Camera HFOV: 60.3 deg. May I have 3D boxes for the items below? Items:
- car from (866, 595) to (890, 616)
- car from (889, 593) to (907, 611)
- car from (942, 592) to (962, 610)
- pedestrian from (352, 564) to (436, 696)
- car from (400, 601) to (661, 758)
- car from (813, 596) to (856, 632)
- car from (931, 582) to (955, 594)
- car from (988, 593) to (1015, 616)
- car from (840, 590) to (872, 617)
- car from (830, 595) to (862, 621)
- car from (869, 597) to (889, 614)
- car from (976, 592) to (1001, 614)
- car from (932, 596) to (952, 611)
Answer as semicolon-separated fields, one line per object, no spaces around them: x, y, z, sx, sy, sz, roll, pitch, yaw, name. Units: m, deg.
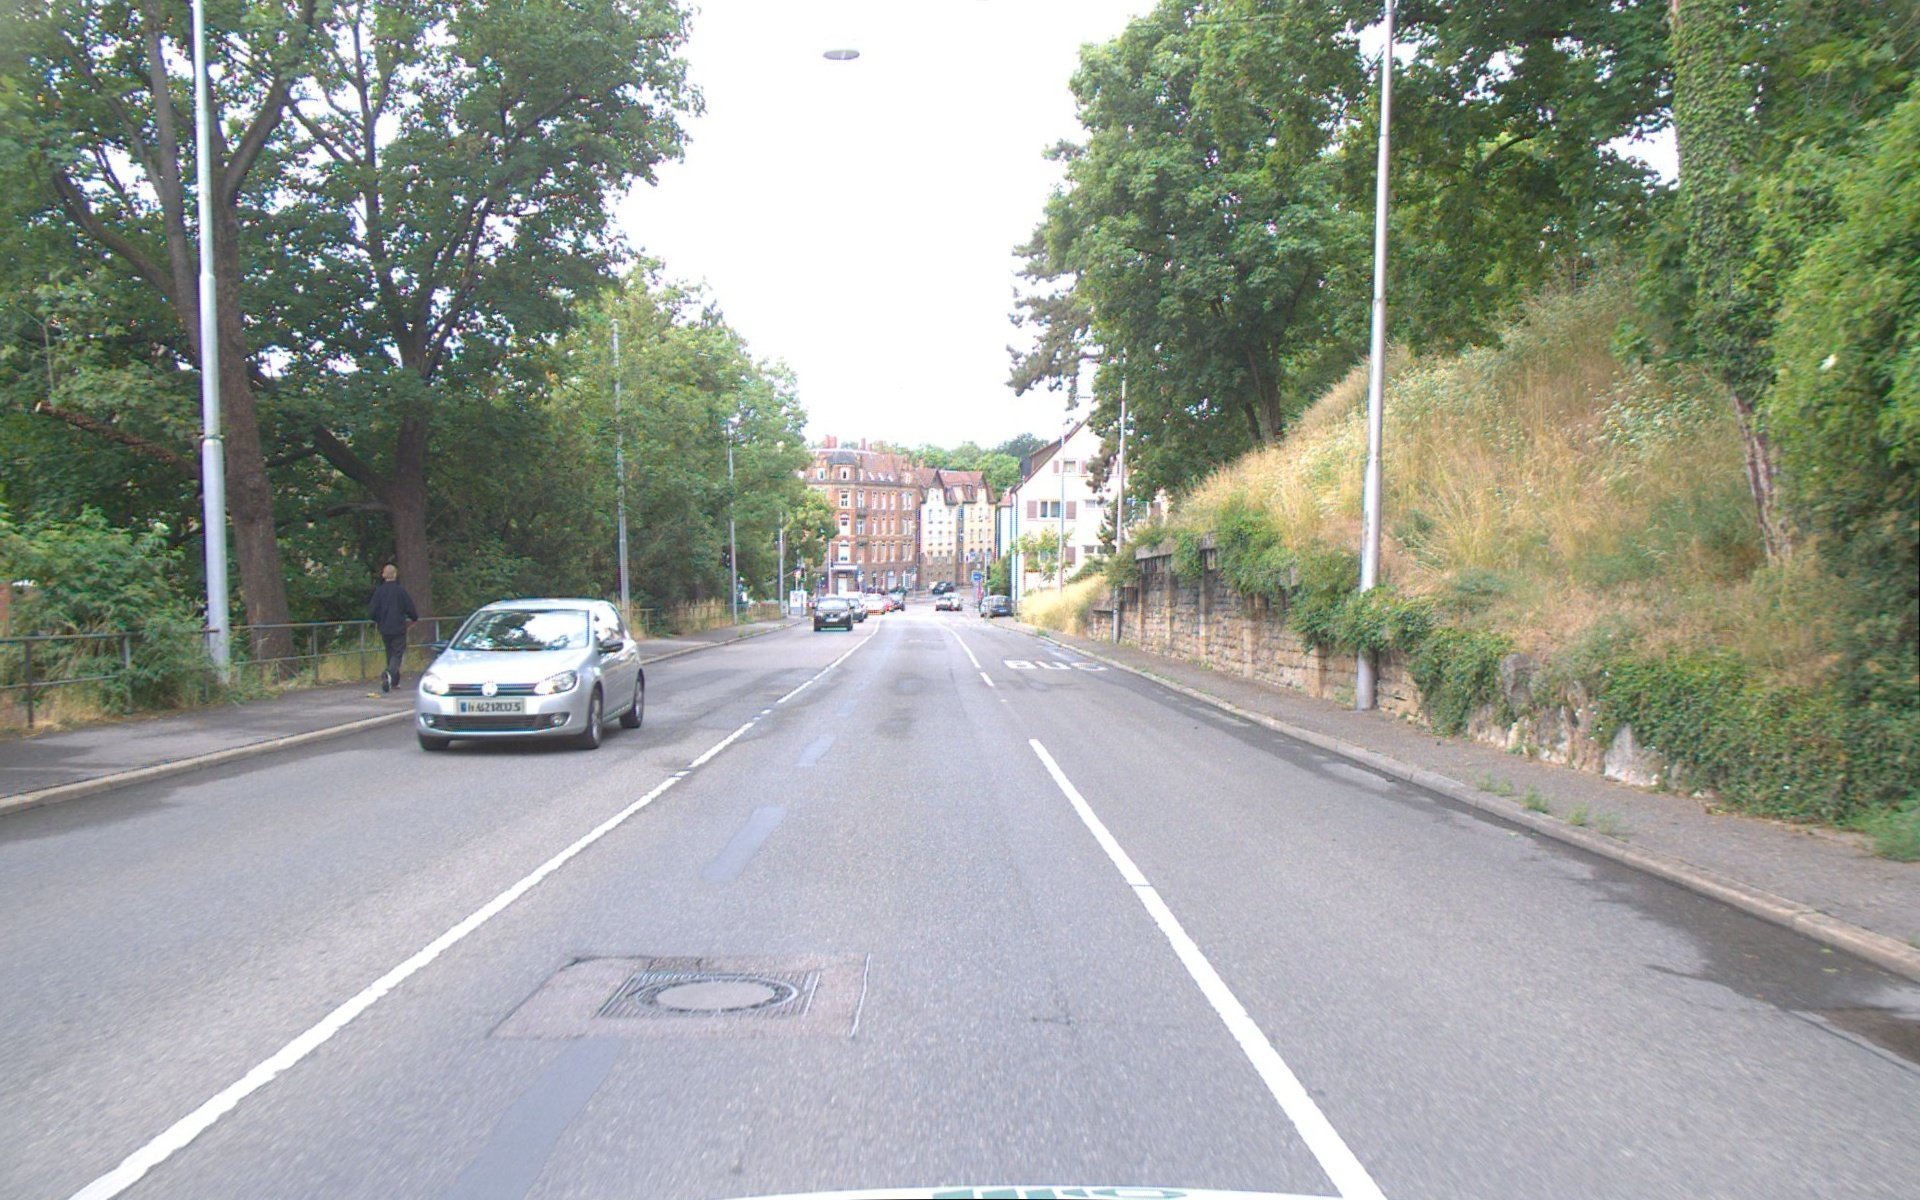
-6.437;0.443;130.253;1.748;1.602;4.279;-1;0;-2;car
-6.229;0.206;166.621;1.747;1.776;4.427;-1;0;-1;car
-0.854;0.148;181.424;1.869;1.917;4.001;2;0;3;car
-8.125;0.418;23.784;0.773;1.805;1.208;3;0;-4;pedestrian
-4.417;0.747;17.653;1.758;1.452;4.142;-1;0;-1;car
-5.390;0.578;71.371;1.635;1.472;3.687;-1;0;-1;car
-2.417;-1.683;234.754;1.941;1.602;4.376;-2;0;19;car
2.848;0.298;114.346;1.648;1.476;3.999;-3;0;-1;car
-6.954;0.233;110.998;1.955;1.712;4.662;-1;0;-1;car
-6.577;0.469;95.538;1.678;1.452;4.137;-1;0;-2;car
-7.216;0.492;147.430;1.748;1.485;4.427;-1;0;-2;car
2.156;0.199;123.406;1.757;1.476;4.719;-3;1;2;car
-1.869;0.341;174.542;1.778;1.455;4.002;2;0;3;car
